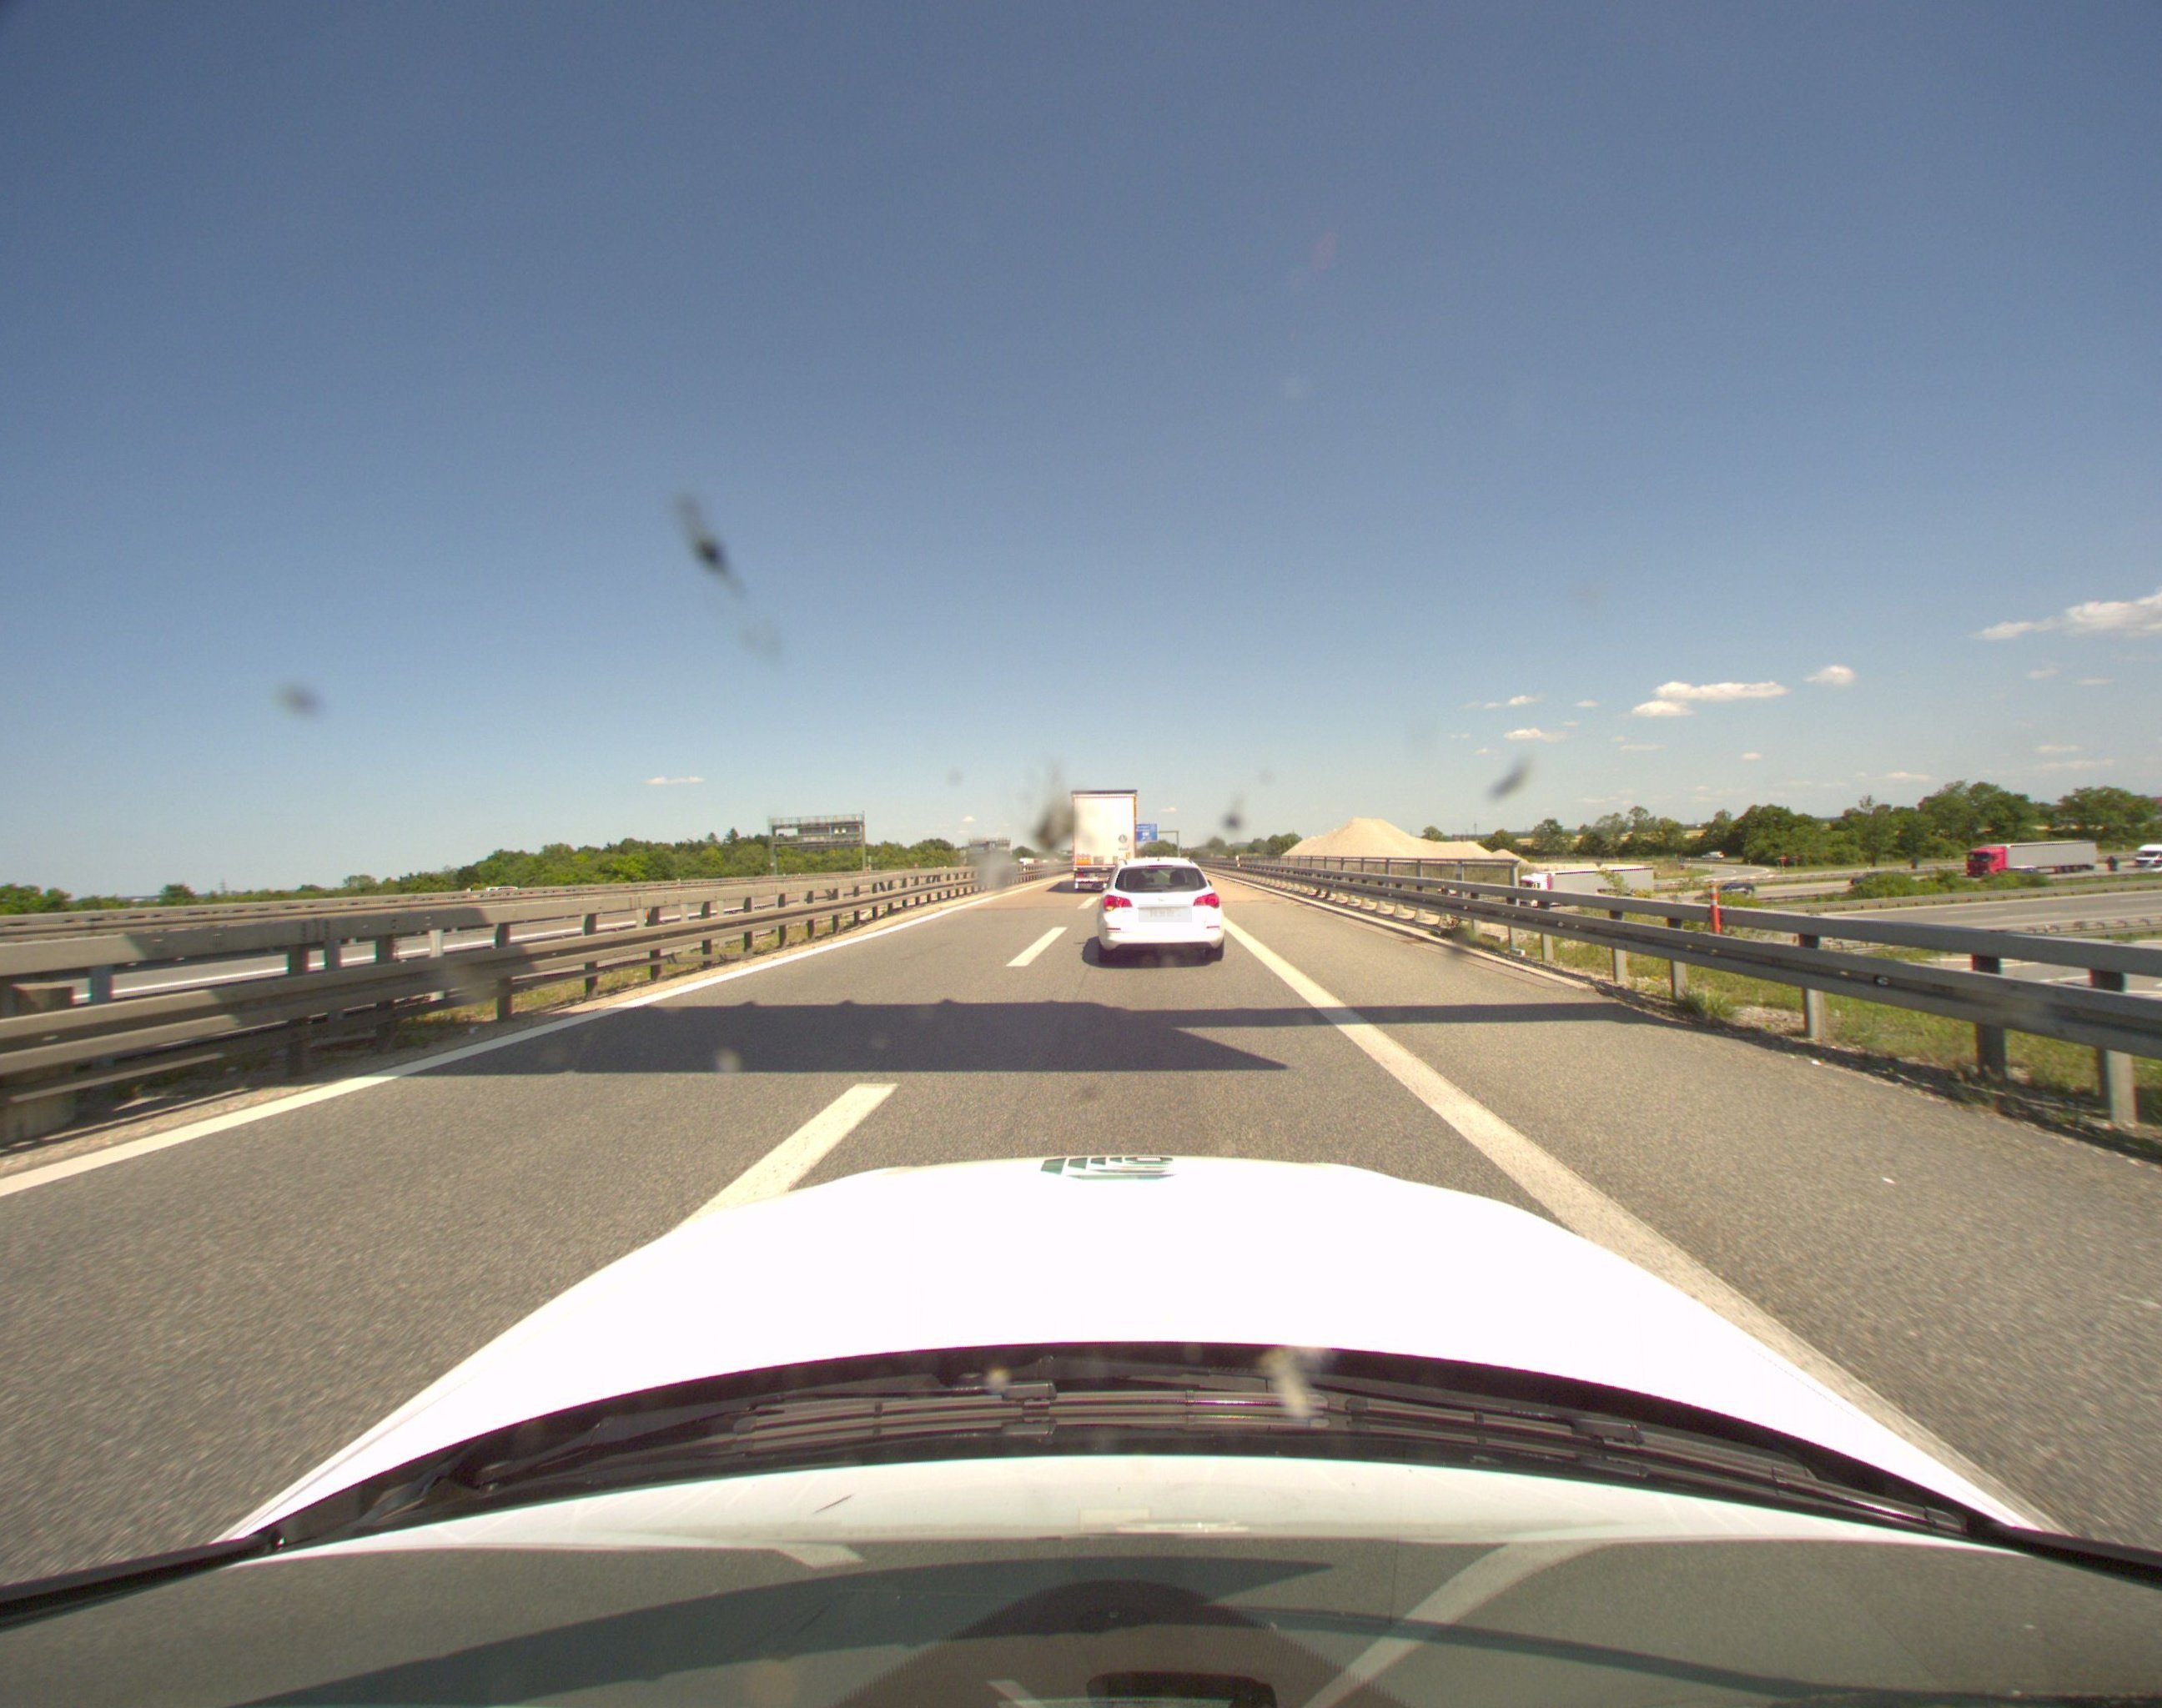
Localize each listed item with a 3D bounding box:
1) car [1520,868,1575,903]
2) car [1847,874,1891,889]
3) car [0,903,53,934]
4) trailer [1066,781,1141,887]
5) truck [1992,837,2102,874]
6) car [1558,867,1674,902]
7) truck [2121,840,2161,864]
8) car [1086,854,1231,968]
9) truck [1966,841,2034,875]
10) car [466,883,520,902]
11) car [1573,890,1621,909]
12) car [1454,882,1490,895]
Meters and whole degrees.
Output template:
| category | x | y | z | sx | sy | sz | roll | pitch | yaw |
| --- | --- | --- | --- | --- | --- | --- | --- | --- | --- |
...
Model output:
| category | x | y | z | sx | sy | sz | roll | pitch | yaw |
| --- | --- | --- | --- | --- | --- | --- | --- | --- | --- |
| car | 54.961 | 3.715 | 95.918 | 5.136 | 3.964 | 2.478 | 0 | -1 | -6 |
| car | 100.268 | 3.445 | 103.633 | 4.330 | 1.734 | 1.856 | -2 | -1 | -9 |
| car | -48.850 | 2.937 | 36.343 | 1.571 | 1.354 | 3.346 | -3 | -3 | 3 |
| trailer | 1.038 | -0.686 | 37.630 | 2.902 | 4.145 | 11.260 | -1 | -1 | 2 |
| truck | 126.327 | 0.199 | 106.523 | 12.525 | 4.064 | 2.863 | -3 | 0 | -7 |
| car | 63.607 | 3.598 | 96.901 | 12.952 | 3.964 | 2.478 | 0 | -1 | -6 |
| truck | 146.361 | -0.337 | 109.652 | 10.006 | 3.060 | 3.144 | -2 | -1 | -7 |
| car | 1.168 | 0.757 | 12.769 | 1.846 | 1.443 | 4.376 | -1 | 0 | 4 |
| truck | 119.177 | 0.552 | 105.653 | 5.932 | 4.064 | 2.863 | -3 | 0 | -7 |
| car | -44.651 | 2.910 | 61.938 | 1.571 | 1.354 | 3.346 | -3 | -3 | 3 |
| car | 59.055 | 5.222 | 93.247 | 4.389 | 2.014 | 1.996 | 0 | -1 | -6 |
| car | 54.664 | 4.794 | 113.783 | 4.110 | 1.610 | 1.995 | 2 | -1 | -7 |
